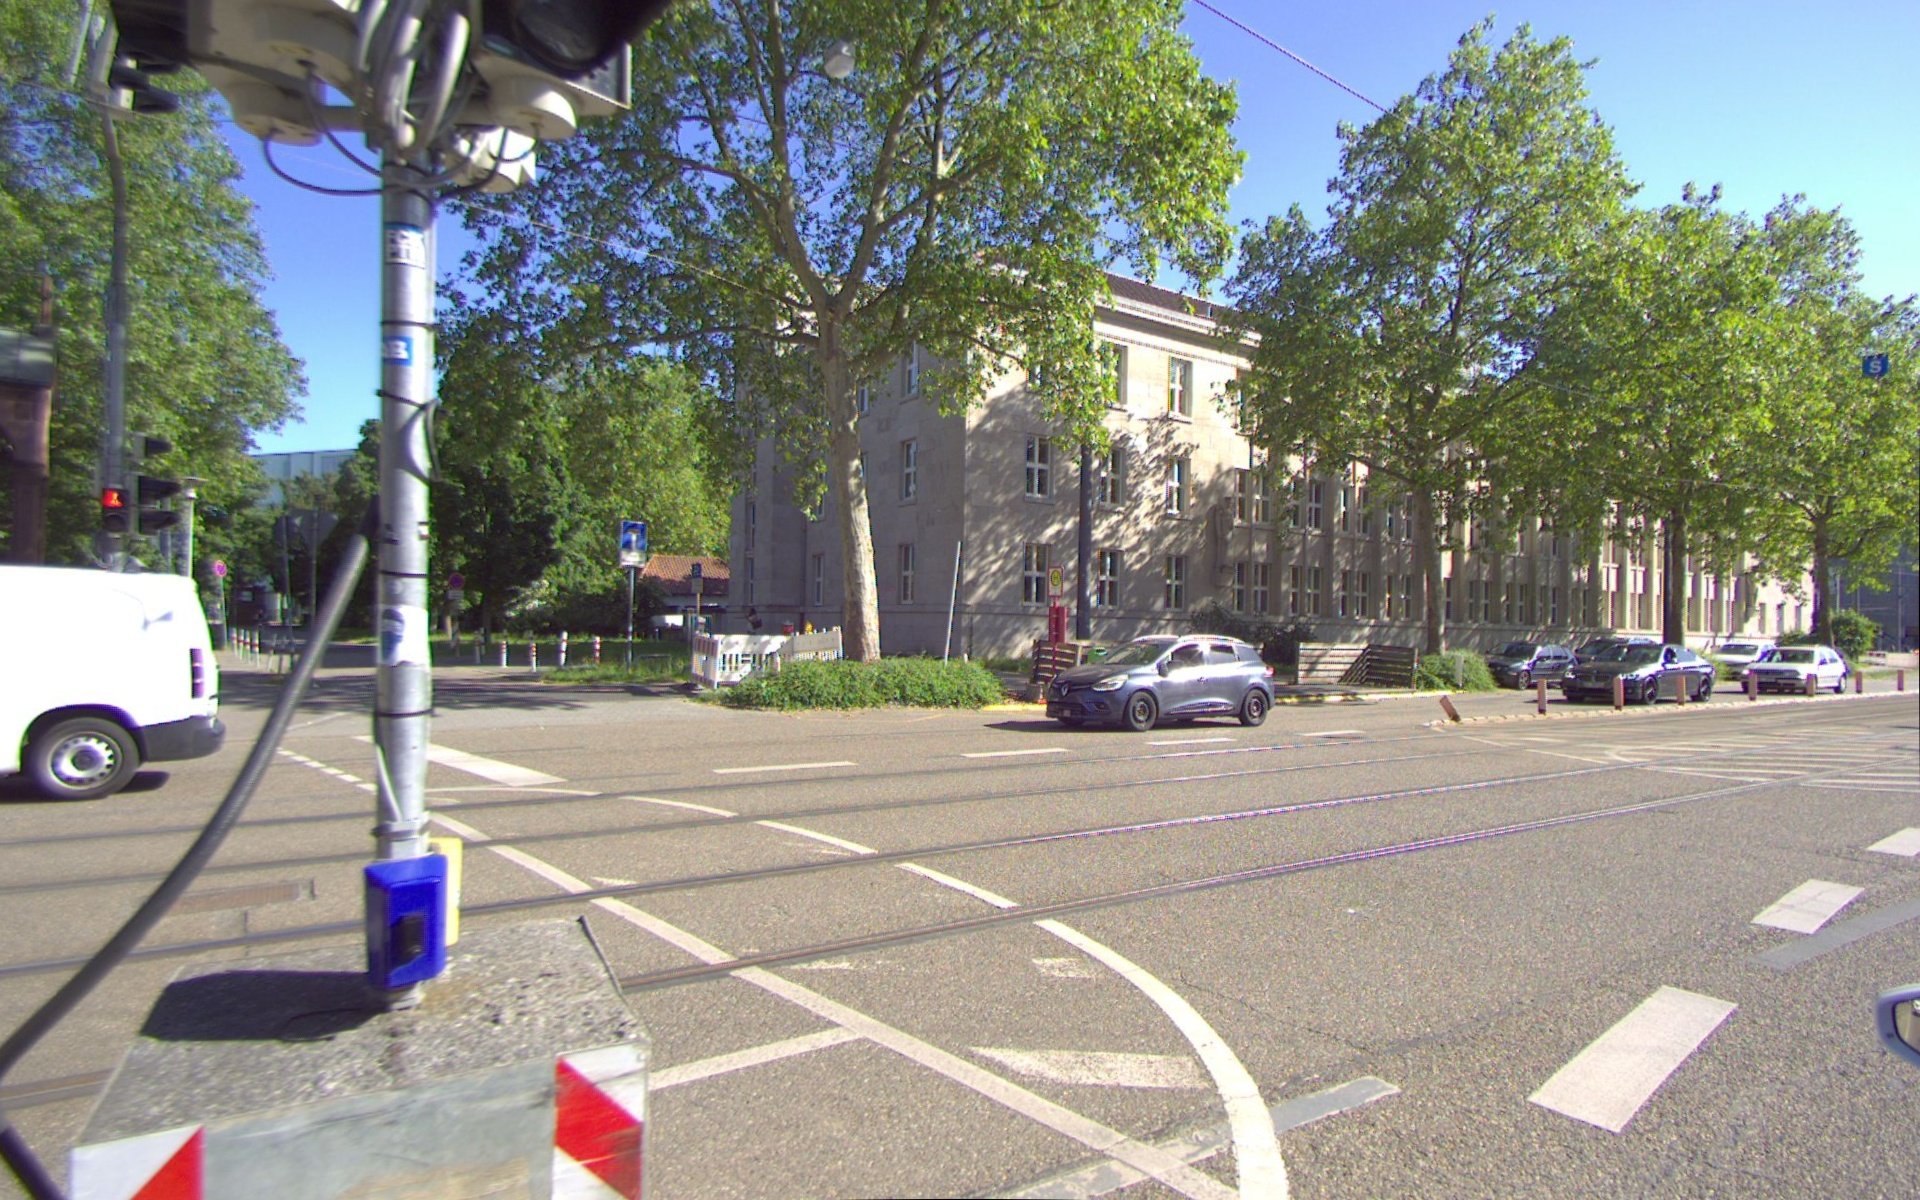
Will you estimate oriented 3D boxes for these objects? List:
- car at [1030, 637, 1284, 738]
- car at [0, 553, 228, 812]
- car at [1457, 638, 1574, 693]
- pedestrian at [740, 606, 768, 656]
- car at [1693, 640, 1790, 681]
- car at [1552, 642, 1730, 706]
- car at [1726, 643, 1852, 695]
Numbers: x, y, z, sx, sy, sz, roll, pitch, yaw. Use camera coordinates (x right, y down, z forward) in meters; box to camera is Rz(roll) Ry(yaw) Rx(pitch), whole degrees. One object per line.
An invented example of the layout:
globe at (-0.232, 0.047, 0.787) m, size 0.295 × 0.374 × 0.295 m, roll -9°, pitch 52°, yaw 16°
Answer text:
car at (3.215, 1.338, 16.119) m, size 4.044 × 1.430 × 1.607 m, roll 2°, pitch -3°, yaw -33°
car at (-8.451, 0.590, 7.729) m, size 4.474 × 1.916 × 2.047 m, roll 2°, pitch -2°, yaw -36°
car at (17.522, 2.026, 31.625) m, size 4.149 × 1.568 × 1.660 m, roll 2°, pitch -2°, yaw -36°
pedestrian at (-8.159, 1.225, 39.798) m, size 0.891 × 1.921 × 0.805 m, roll 1°, pitch -1°, yaw -29°
car at (32.236, 2.481, 41.407) m, size 4.348 × 1.608 × 1.820 m, roll 2°, pitch -3°, yaw -33°
car at (17.236, 1.831, 25.362) m, size 4.903 × 1.472 × 1.821 m, roll 2°, pitch -2°, yaw -31°
car at (25.605, 2.100, 31.005) m, size 4.125 × 1.472 × 1.820 m, roll 2°, pitch -3°, yaw -32°
